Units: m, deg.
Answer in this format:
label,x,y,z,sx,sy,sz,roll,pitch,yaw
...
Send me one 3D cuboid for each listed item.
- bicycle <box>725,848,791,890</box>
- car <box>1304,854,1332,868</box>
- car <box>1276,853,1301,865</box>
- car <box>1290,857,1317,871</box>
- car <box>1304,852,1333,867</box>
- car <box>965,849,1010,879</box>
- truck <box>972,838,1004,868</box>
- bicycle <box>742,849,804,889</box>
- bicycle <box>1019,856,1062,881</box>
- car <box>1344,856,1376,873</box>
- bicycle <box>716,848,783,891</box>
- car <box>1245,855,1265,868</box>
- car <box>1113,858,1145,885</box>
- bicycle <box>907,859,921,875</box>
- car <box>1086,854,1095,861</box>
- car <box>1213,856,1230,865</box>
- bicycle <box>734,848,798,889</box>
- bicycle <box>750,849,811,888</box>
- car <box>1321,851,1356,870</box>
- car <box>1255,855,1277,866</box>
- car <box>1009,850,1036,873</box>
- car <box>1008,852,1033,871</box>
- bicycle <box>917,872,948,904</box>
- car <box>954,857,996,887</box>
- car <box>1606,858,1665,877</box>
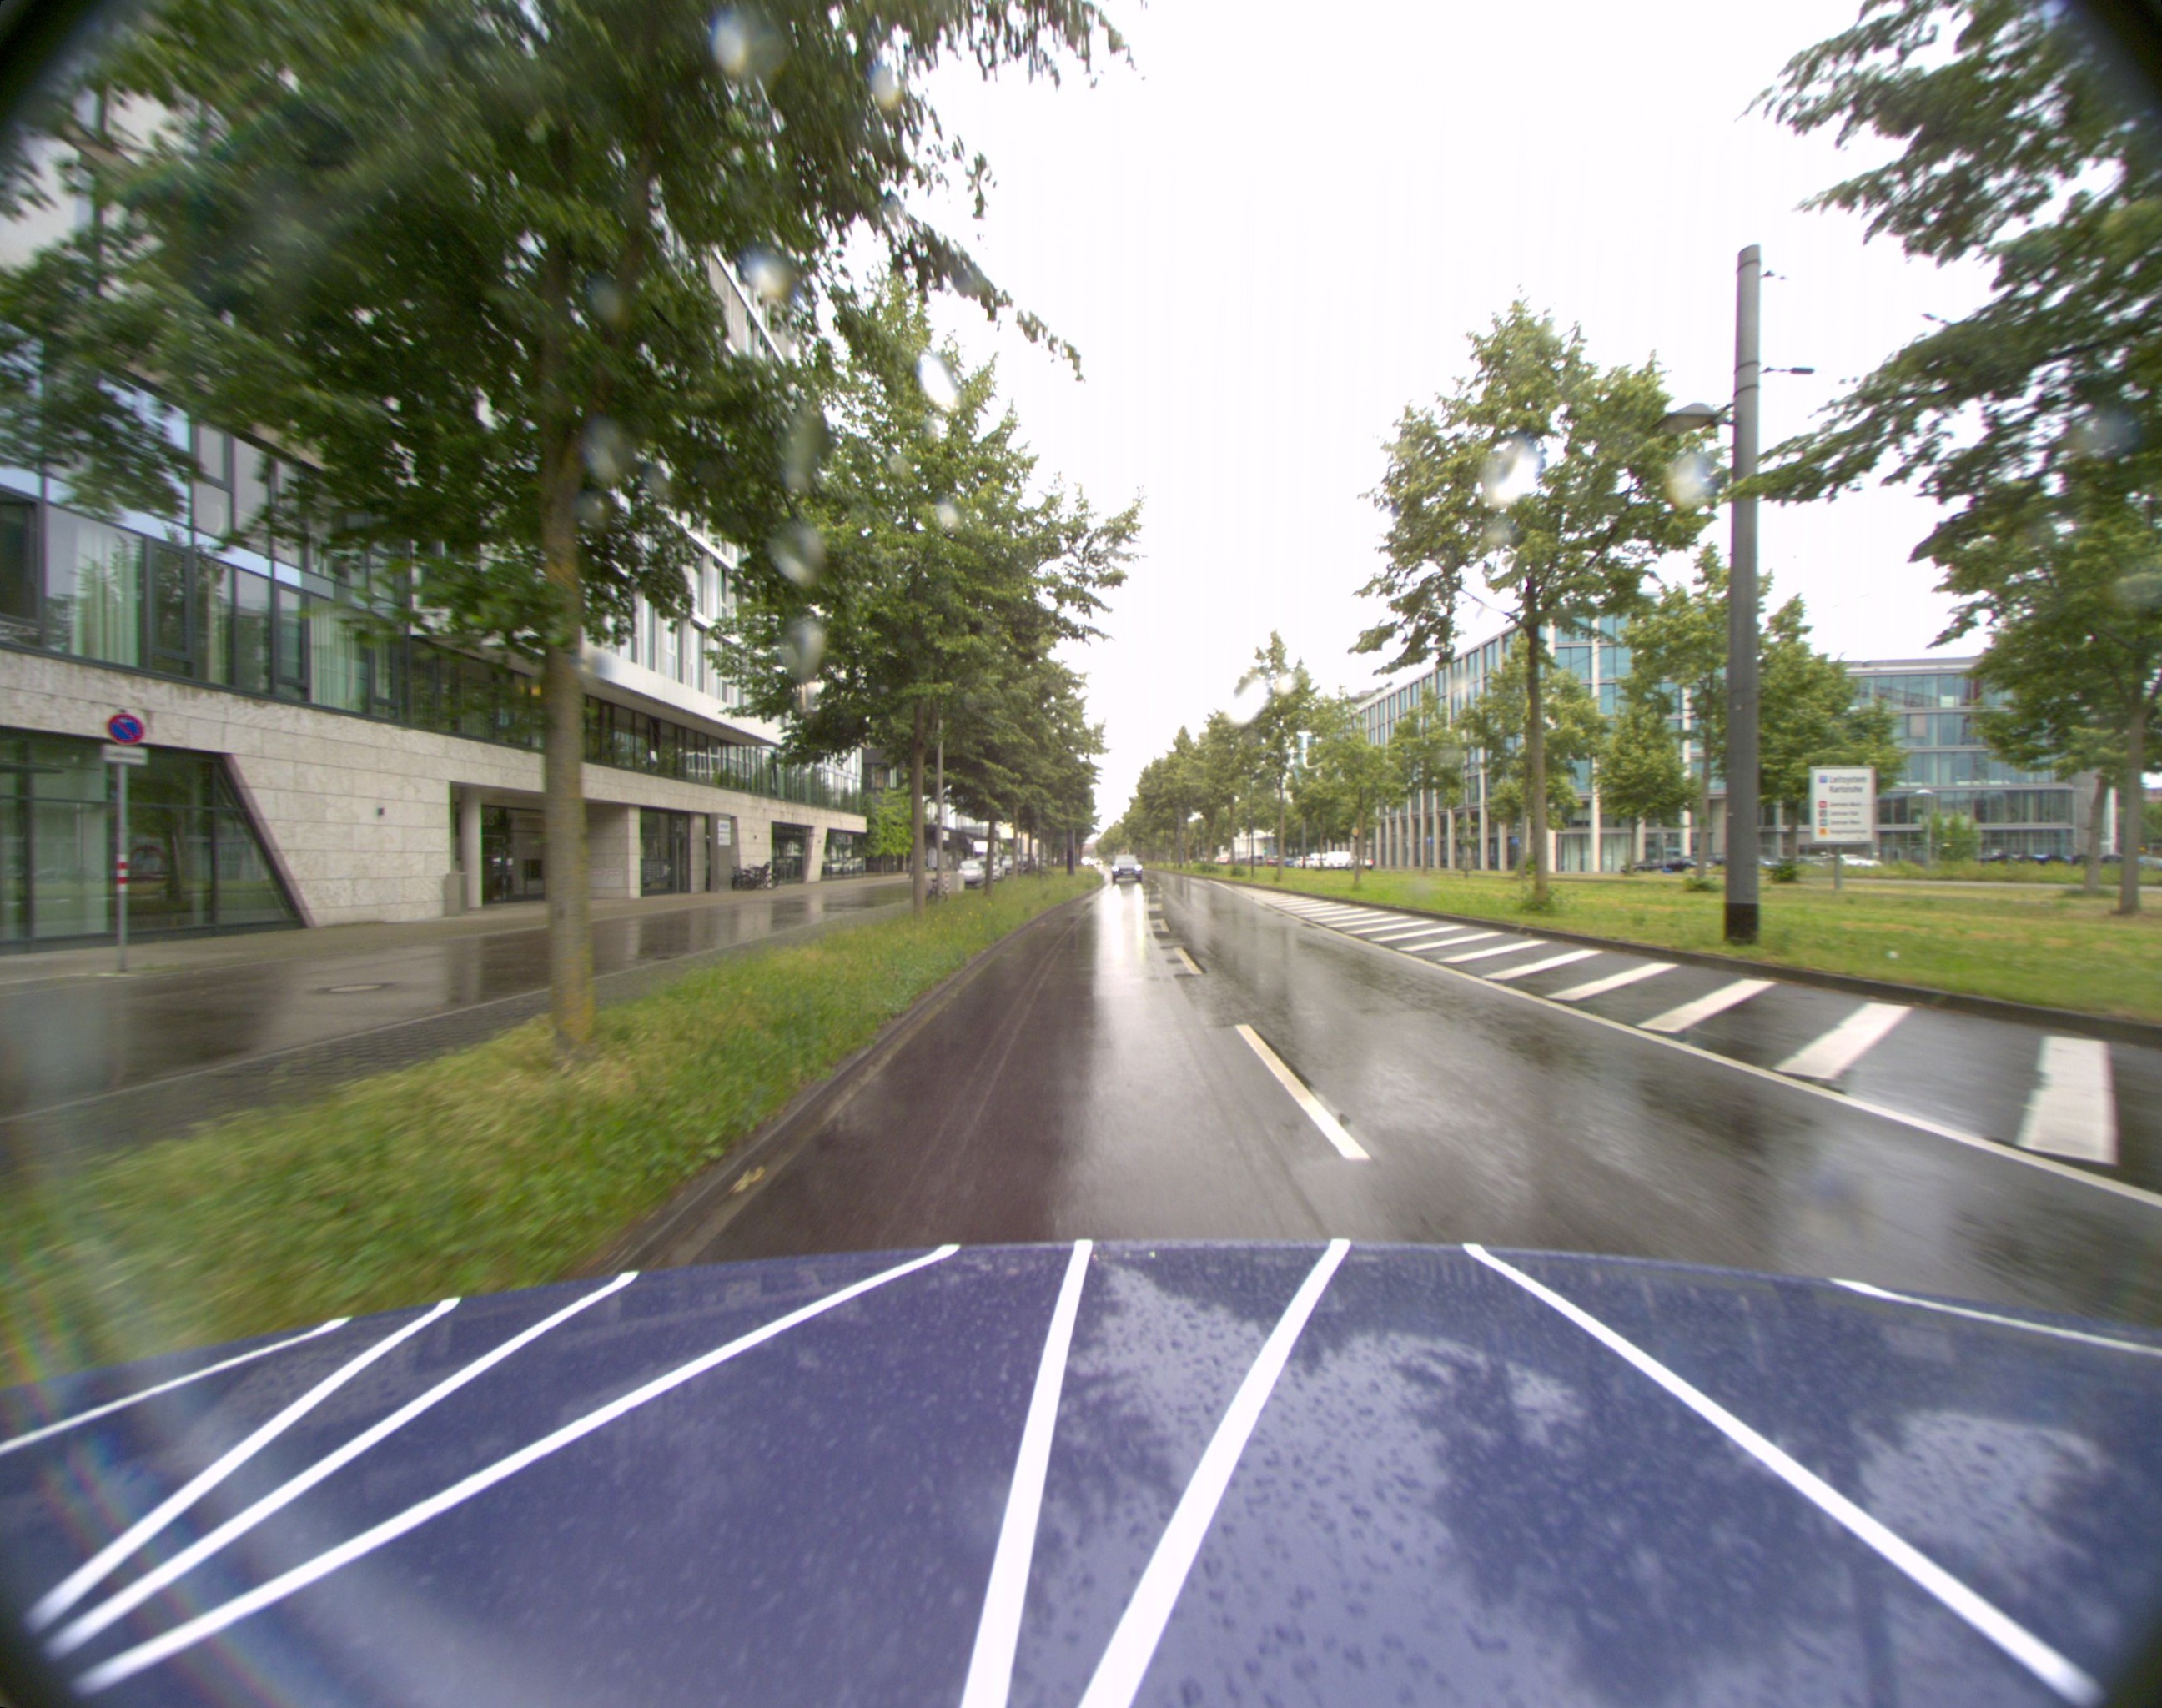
label,x,y,z,sx,sy,sz,roll,pitch,yaw
bicycle,-14.548,0.676,34.241,2.685,1.850,0.707,0,0,5
car,26.262,0.826,84.375,1.955,1.452,4.834,-1,-2,4
car,26.606,0.662,97.458,1.956,1.485,3.963,-1,-2,-2
car,26.589,1.170,90.888,1.955,1.504,4.576,-1,0,0
car,29.728,0.706,95.203,1.956,1.641,5.031,-1,-2,-2
car,-5.518,0.630,45.477,1.998,1.659,4.725,-1,-2,1
truck,-11.299,-0.114,93.006,3.033,3.421,8.546,-1,0,-2
bicycle,-14.517,0.709,35.818,2.685,1.850,0.707,0,0,5
bicycle,-1.937,0.706,36.608,2.040,1.189,0.491,-1,1,1
car,29.031,1.060,79.181,1.955,1.739,4.577,-1,0,4
bicycle,-14.613,0.685,33.496,2.685,1.850,0.707,0,0,5
car,26.442,1.140,115.410,1.956,1.837,4.544,-1,-1,0
car,3.037,1.062,49.060,1.928,1.650,4.716,0,0,1
bicycle,-12.270,0.962,55.872,0.519,1.124,2.065,-1,0,3
car,2.059,0.827,167.761,1.687,1.520,3.970,-1,-2,-1
car,23.706,1.130,128.308,1.955,1.444,4.576,-1,0,0
bicycle,-14.503,0.664,35.032,2.685,1.850,0.707,0,0,5
bicycle,-14.443,0.686,36.581,2.685,1.850,0.707,0,0,5
car,29.524,0.765,87.229,2.273,1.994,5.375,-1,-2,2
car,25.745,0.878,105.804,1.956,1.377,4.606,-1,-2,0
car,-5.286,0.685,69.140,1.998,1.940,5.031,-1,-2,1
car,-5.005,0.573,62.538,1.962,1.504,4.480,-1,0,-6
bicycle,-3.914,0.898,20.137,0.343,0.817,1.903,-1,-2,4
car,-5.455,0.924,39.480,1.629,1.482,3.656,-1,-1,0
car,48.362,1.161,66.368,3.797,1.599,1.746,-1,-2,4
